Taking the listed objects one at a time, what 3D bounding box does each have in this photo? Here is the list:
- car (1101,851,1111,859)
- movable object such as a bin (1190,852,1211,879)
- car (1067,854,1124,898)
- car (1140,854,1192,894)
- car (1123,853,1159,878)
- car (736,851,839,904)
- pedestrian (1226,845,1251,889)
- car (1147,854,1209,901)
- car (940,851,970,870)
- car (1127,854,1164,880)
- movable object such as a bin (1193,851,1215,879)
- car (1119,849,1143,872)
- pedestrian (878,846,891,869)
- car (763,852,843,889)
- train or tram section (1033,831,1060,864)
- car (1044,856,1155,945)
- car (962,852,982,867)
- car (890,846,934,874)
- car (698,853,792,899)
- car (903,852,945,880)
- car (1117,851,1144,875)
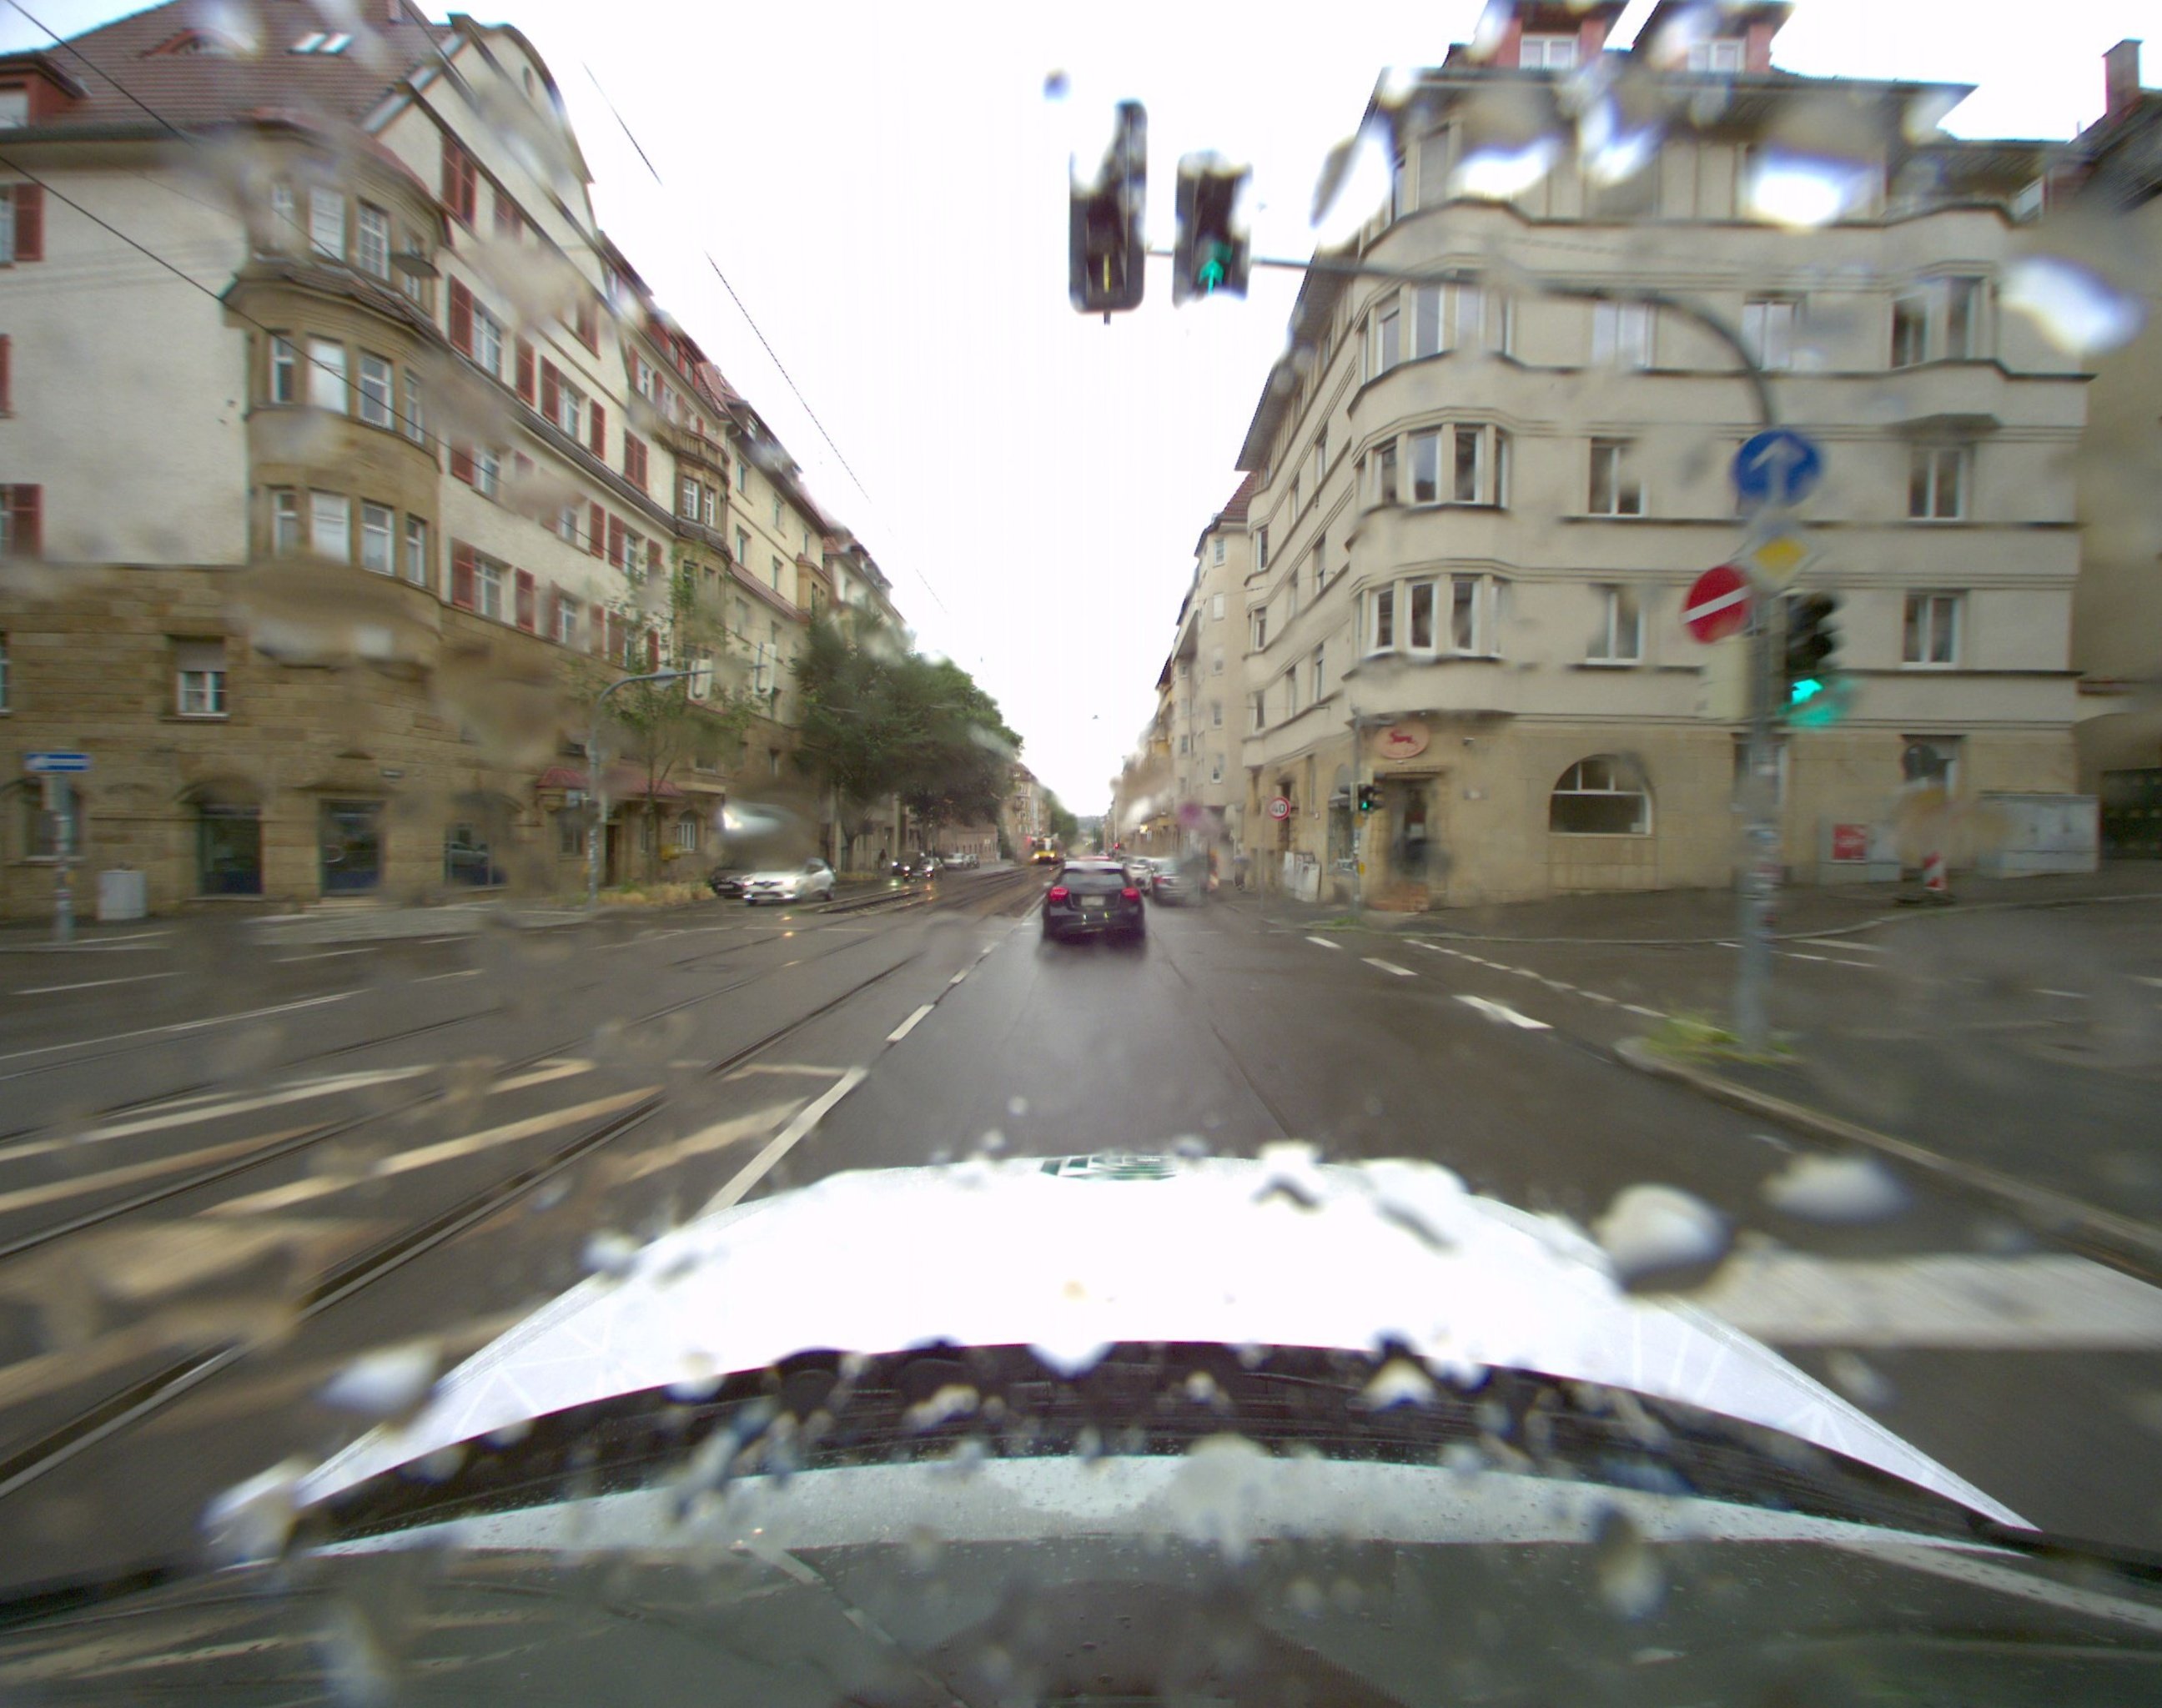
[{"bbox_3d":[4.876,0.256,157.106,1.879,1.525,4.249,1,0,3],"label":"car"},{"bbox_3d":[6.574,0.610,44.838,1.014,1.468,1.323,0,-1,0],"label":"movable object such as a bin"},{"bbox_3d":[0.560,0.774,30.571,1.986,1.525,4.246,1,0,1],"label":"car"},{"bbox_3d":[3.304,0.752,32.527,1.706,1.468,4.775,0,-1,1],"label":"car"},{"bbox_3d":[3.674,0.692,50.259,1.827,1.468,4.373,0,-1,-1],"label":"car"},{"bbox_3d":[-9.077,0.704,25.545,1.775,1.503,4.061,0,-1,0],"label":"car"},{"bbox_3d":[6.138,0.487,31.723,0.801,1.687,0.754,0,-1,0],"label":"pedestrian"},{"bbox_3d":[3.145,0.736,27.160,1.704,1.410,4.820,0,-1,3],"label":"car"},{"bbox_3d":[-11.251,0.544,73.124,1.955,1.605,4.328,1,0,0],"label":"car"},{"bbox_3d":[3.580,0.714,45.588,1.783,1.385,4.395,0,-1,1],"label":"car"},{"bbox_3d":[6.519,0.594,43.342,0.976,1.468,1.273,0,-1,0],"label":"movable object such as a bin"},{"bbox_3d":[3.892,0.528,64.243,1.771,1.750,4.550,0,-1,2],"label":"car"},{"bbox_3d":[-14.783,0.268,61.288,0.726,1.663,0.771,0,0,0],"label":"pedestrian"},{"bbox_3d":[-11.828,0.702,35.038,1.775,1.460,4.977,0,-1,0],"label":"car"},{"bbox_3d":[-4.559,-0.795,109.833,2.736,4.061,17.214,0,0,0],"label":"train or tram section"},{"bbox_3d":[0.349,0.774,15.299,1.828,1.453,3.902,0,0,1],"label":"car"},{"bbox_3d":[-10.989,0.548,82.086,1.567,1.466,3.044,1,0,0],"label":"car"},{"bbox_3d":[-11.575,0.388,55.995,1.947,1.742,4.778,3,0,0],"label":"car"},{"bbox_3d":[-11.982,0.757,29.342,1.684,1.529,4.174,0,-1,0],"label":"car"},{"bbox_3d":[-8.813,0.631,45.874,1.648,1.462,3.733,-1,0,0],"label":"car"},{"bbox_3d":[3.500,0.622,58.120,1.833,1.608,4.764,0,-1,3],"label":"car"}]
